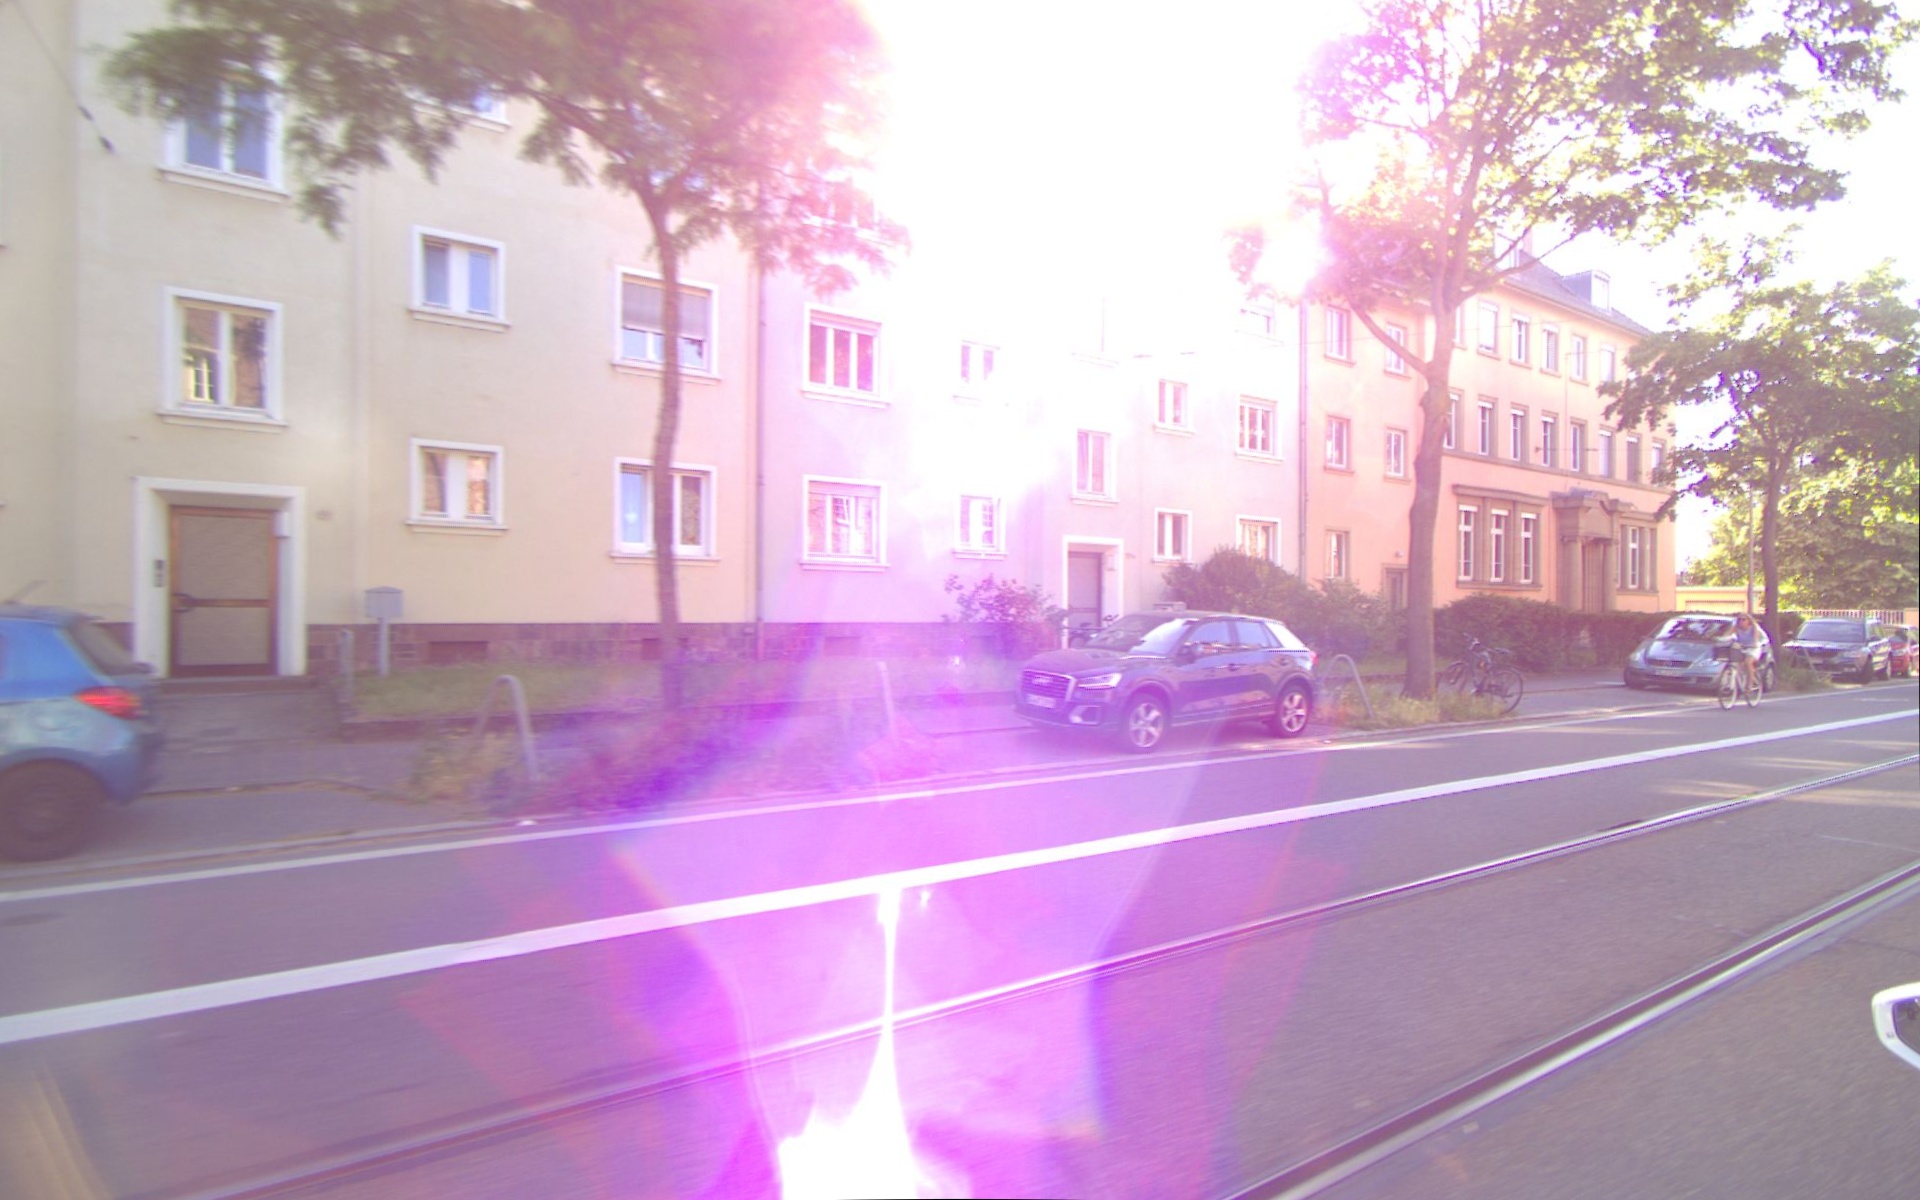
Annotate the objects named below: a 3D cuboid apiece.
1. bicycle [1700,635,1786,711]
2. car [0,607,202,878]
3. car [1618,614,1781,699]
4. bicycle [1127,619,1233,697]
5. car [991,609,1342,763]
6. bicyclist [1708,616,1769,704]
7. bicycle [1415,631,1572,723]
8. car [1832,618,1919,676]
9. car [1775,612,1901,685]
[{"bbox_3d":[13.555,1.240,17.366,2.271,1.213,0.554,1,-4,-38],"label":"bicycle"},{"bbox_3d":[-6.765,0.808,5.699,3.894,1.476,1.549,1,2,-37],"label":"car"},{"bbox_3d":[15.972,1.138,21.638,4.032,1.590,1.732,1,2,-37],"label":"car"},{"bbox_3d":[3.947,1.004,18.269,0.552,1.214,2.276,0,2,-27],"label":"bicycle"},{"bbox_3d":[2.607,0.915,12.257,4.281,1.510,1.733,1,2,-36],"label":"car"},{"bbox_3d":[13.348,1.022,17.219,0.861,1.475,0.554,1,-4,-37],"label":"bicyclist"},{"bbox_3d":[8.368,1.164,15.895,0.552,1.214,2.276,0,2,-27],"label":"bicycle"},{"bbox_3d":[26.773,1.316,29.148,3.581,1.508,1.569,1,2,-39],"label":"car"},{"bbox_3d":[23.118,1.204,26.407,4.353,1.683,1.731,1,2,-39],"label":"car"}]
